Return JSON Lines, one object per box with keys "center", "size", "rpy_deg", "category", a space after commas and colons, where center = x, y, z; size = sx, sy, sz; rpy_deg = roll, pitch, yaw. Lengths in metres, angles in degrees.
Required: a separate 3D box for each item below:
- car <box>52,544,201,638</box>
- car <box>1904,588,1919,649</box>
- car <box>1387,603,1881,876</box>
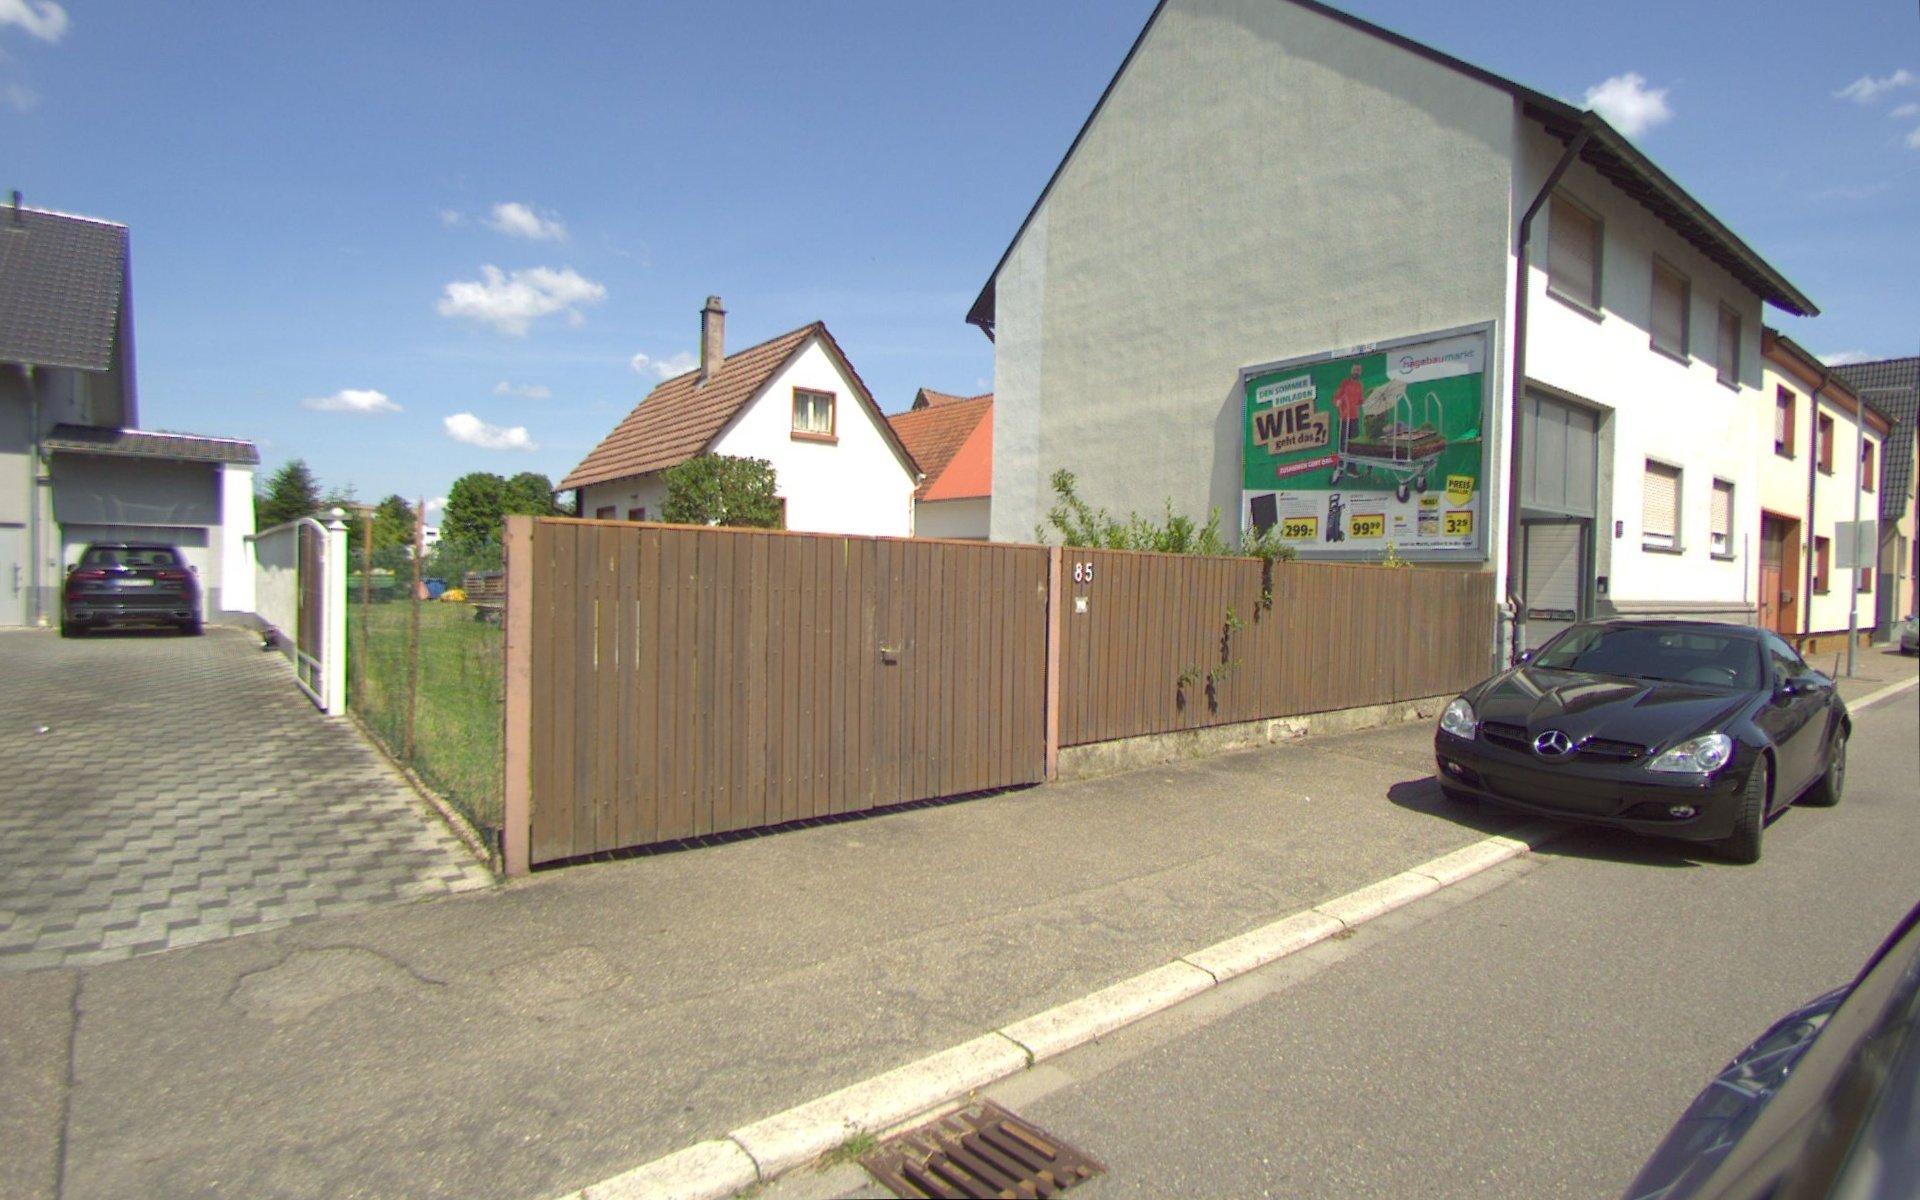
{"center": [-15.731, -0.151, 19.321], "size": [1.963, 1.572, 4.582], "rpy_deg": [0, 0, -37], "category": "car"}
{"center": [25.614, 0.510, 25.683], "size": [3.680, 1.499, 1.728], "rpy_deg": [0, 5, -37], "category": "car"}
{"center": [4.865, 0.703, 7.081], "size": [4.073, 1.291, 1.819], "rpy_deg": [0, 1, -40], "category": "car"}
